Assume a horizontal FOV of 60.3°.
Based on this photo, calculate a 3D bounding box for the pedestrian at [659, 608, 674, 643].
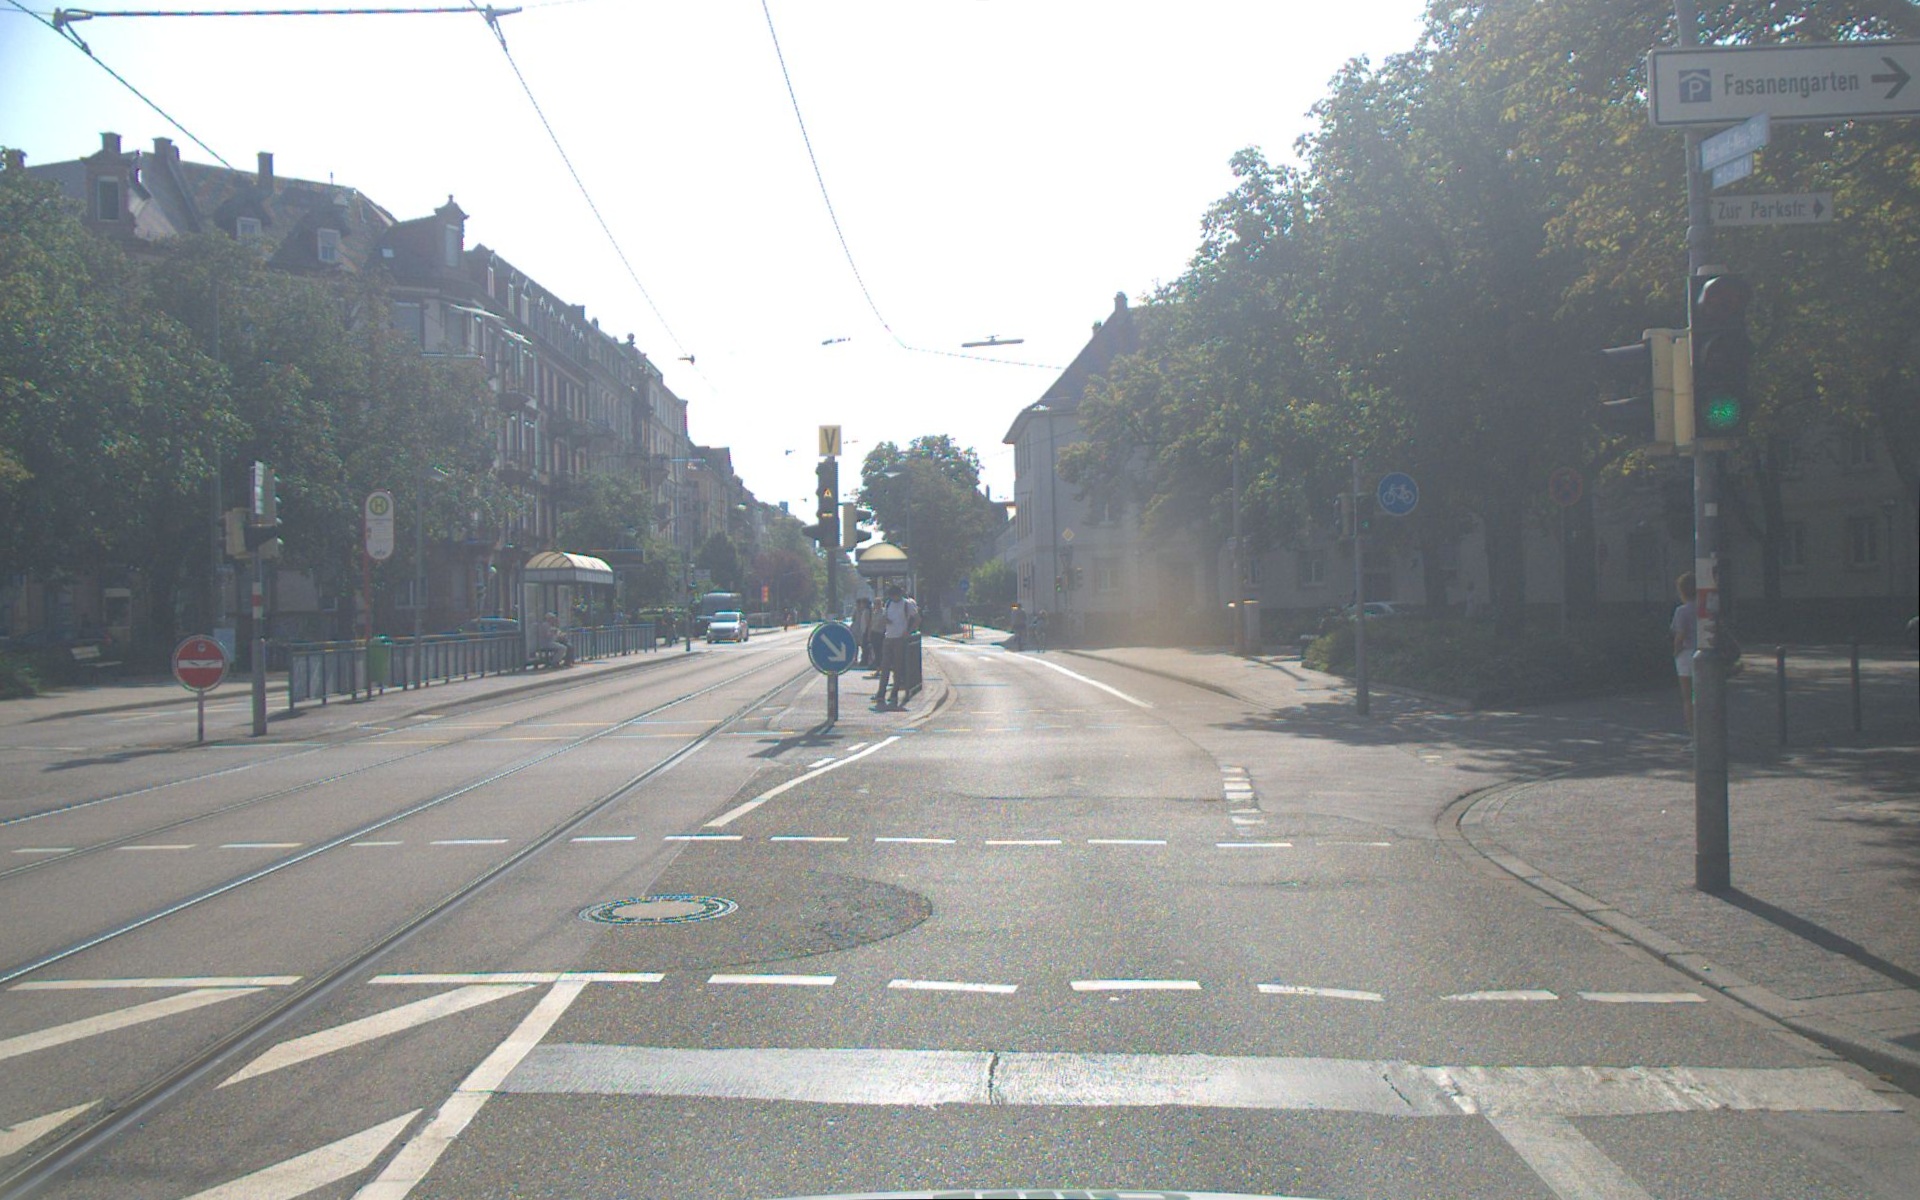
[{"bbox_3d":[-14.977,1.299,84.396,0.736,1.761,0.769,-1,-1,-11],"label":"pedestrian"}]

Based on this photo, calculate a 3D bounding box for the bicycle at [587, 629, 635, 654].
[{"bbox_3d":[-14.532,1.723,68.852,1.905,0.995,0.494,-1,0,-17],"label":"bicycle"}]

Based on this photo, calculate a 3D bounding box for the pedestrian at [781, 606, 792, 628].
[{"bbox_3d":[-14.329,1.407,136.563,0.736,1.761,0.769,-1,-1,-11],"label":"pedestrian"}]

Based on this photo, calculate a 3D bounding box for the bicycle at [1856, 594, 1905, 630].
[{"bbox_3d":[26.164,0.324,47.032,0.416,0.995,1.554,-1,0,-4],"label":"bicycle"}]

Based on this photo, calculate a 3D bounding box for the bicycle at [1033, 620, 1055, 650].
[{"bbox_3d":[2.975,1.242,58.784,0.547,0.995,1.855,-1,0,-3],"label":"bicycle"}]

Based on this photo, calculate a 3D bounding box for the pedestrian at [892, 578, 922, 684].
[{"bbox_3d":[-0.952,0.551,29.604,0.494,1.866,0.534,1,2,-2],"label":"pedestrian"}]

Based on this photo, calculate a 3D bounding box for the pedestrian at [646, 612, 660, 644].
[{"bbox_3d":[-17.377,1.585,93.608,0.736,1.761,0.769,-1,-1,-11],"label":"pedestrian"}]

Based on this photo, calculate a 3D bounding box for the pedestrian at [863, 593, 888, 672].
[{"bbox_3d":[-1.960,0.751,38.288,0.532,1.790,0.534,1,2,-2],"label":"pedestrian"}]

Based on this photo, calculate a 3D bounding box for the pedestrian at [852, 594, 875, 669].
[{"bbox_3d":[-2.361,0.762,40.505,0.521,1.790,0.545,1,2,0],"label":"pedestrian"}]

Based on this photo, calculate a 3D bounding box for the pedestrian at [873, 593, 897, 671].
[{"bbox_3d":[-1.774,0.749,39.102,0.532,1.790,0.534,1,2,-2],"label":"pedestrian"}]

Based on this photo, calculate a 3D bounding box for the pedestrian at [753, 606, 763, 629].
[{"bbox_3d":[-15.985,1.379,130.746,0.736,1.761,0.769,-1,-1,-11],"label":"pedestrian"}]

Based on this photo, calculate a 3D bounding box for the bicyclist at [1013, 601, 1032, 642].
[{"bbox_3d":[2.369,0.819,63.013,0.616,1.534,0.678,-1,0,-3],"label":"bicyclist"}]

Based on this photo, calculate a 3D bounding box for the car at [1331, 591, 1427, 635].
[{"bbox_3d":[14.837,0.453,58.766,1.721,1.453,4.135,-2,0,-10],"label":"car"}]

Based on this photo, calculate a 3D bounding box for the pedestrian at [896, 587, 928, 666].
[{"bbox_3d":[-1.119,0.617,38.500,0.694,1.790,0.534,1,2,-2],"label":"pedestrian"}]

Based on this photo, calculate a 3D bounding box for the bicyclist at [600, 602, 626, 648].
[{"bbox_3d":[-14.461,1.047,68.891,0.970,1.890,0.491,-1,-1,-17],"label":"bicyclist"}]

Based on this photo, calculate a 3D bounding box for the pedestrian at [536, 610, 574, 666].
[{"bbox_3d":[-10.213,0.952,41.712,0.812,1.382,0.775,-1,-1,-6],"label":"pedestrian"}]

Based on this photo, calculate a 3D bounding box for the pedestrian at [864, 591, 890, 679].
[{"bbox_3d":[-1.717,0.714,34.286,0.494,1.790,0.534,1,2,-2],"label":"pedestrian"}]

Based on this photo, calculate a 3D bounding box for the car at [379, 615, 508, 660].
[{"bbox_3d":[-19.745,1.418,63.352,4.298,1.596,1.970,-1,0,-42],"label":"car"}]

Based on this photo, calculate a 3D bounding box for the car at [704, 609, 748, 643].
[{"bbox_3d":[-12.128,1.332,85.931,1.765,1.682,3.642,-1,0,-1],"label":"car"}]

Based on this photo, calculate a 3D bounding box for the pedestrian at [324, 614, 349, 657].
[{"bbox_3d":[-25.503,1.451,67.647,0.764,1.761,0.741,-1,-1,-40],"label":"pedestrian"}]

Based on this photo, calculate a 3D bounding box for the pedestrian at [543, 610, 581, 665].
[{"bbox_3d":[-10.263,0.960,42.688,0.812,1.382,0.775,-1,-1,-6],"label":"pedestrian"}]

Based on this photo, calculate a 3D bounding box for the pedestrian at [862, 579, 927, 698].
[{"bbox_3d":[-1.001,0.575,25.336,0.687,1.755,0.746,2,2,31],"label":"pedestrian"}]

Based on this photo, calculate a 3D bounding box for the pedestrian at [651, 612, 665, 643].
[{"bbox_3d":[-17.618,1.587,96.461,0.736,1.761,0.769,-1,-1,-11],"label":"pedestrian"}]

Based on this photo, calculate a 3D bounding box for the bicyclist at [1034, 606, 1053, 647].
[{"bbox_3d":[2.961,0.935,58.800,0.547,1.441,0.871,-1,0,-3],"label":"bicyclist"}]

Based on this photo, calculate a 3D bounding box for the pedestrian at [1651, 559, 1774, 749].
[{"bbox_3d":[7.242,0.506,15.952,0.736,1.761,0.769,-1,-1,-11],"label":"pedestrian"}]

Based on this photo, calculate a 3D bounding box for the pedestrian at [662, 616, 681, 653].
[{"bbox_3d":[-14.242,1.702,81.639,0.734,1.761,0.771,-1,-1,0],"label":"pedestrian"}]

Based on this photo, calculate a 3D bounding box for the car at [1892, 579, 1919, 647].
[{"bbox_3d":[21.940,0.228,34.539,1.843,1.443,3.942,-1,0,-40],"label":"car"}]

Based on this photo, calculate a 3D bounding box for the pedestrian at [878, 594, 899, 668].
[{"bbox_3d":[-1.777,0.768,41.100,0.494,1.790,0.534,1,2,-2],"label":"pedestrian"}]

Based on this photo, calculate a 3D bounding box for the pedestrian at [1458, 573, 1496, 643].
[{"bbox_3d":[13.266,0.197,42.465,0.872,1.771,0.776,-2,-1,18],"label":"pedestrian"}]

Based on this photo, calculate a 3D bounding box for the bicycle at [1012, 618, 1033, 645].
[{"bbox_3d":[2.372,1.199,63.013,0.616,0.995,1.769,-2,0,-3],"label":"bicycle"}]

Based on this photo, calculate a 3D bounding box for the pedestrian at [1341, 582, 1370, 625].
[{"bbox_3d":[16.480,0.133,68.969,0.877,1.771,0.772,-2,-1,40],"label":"pedestrian"}]

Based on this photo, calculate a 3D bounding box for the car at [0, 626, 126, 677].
[{"bbox_3d":[-30.903,1.749,56.310,4.260,1.596,1.988,-1,0,-21],"label":"car"}]

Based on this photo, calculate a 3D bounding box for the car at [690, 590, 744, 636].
[{"bbox_3d":[-14.805,0.774,101.011,2.298,2.708,5.106,-1,0,2],"label":"car"}]
